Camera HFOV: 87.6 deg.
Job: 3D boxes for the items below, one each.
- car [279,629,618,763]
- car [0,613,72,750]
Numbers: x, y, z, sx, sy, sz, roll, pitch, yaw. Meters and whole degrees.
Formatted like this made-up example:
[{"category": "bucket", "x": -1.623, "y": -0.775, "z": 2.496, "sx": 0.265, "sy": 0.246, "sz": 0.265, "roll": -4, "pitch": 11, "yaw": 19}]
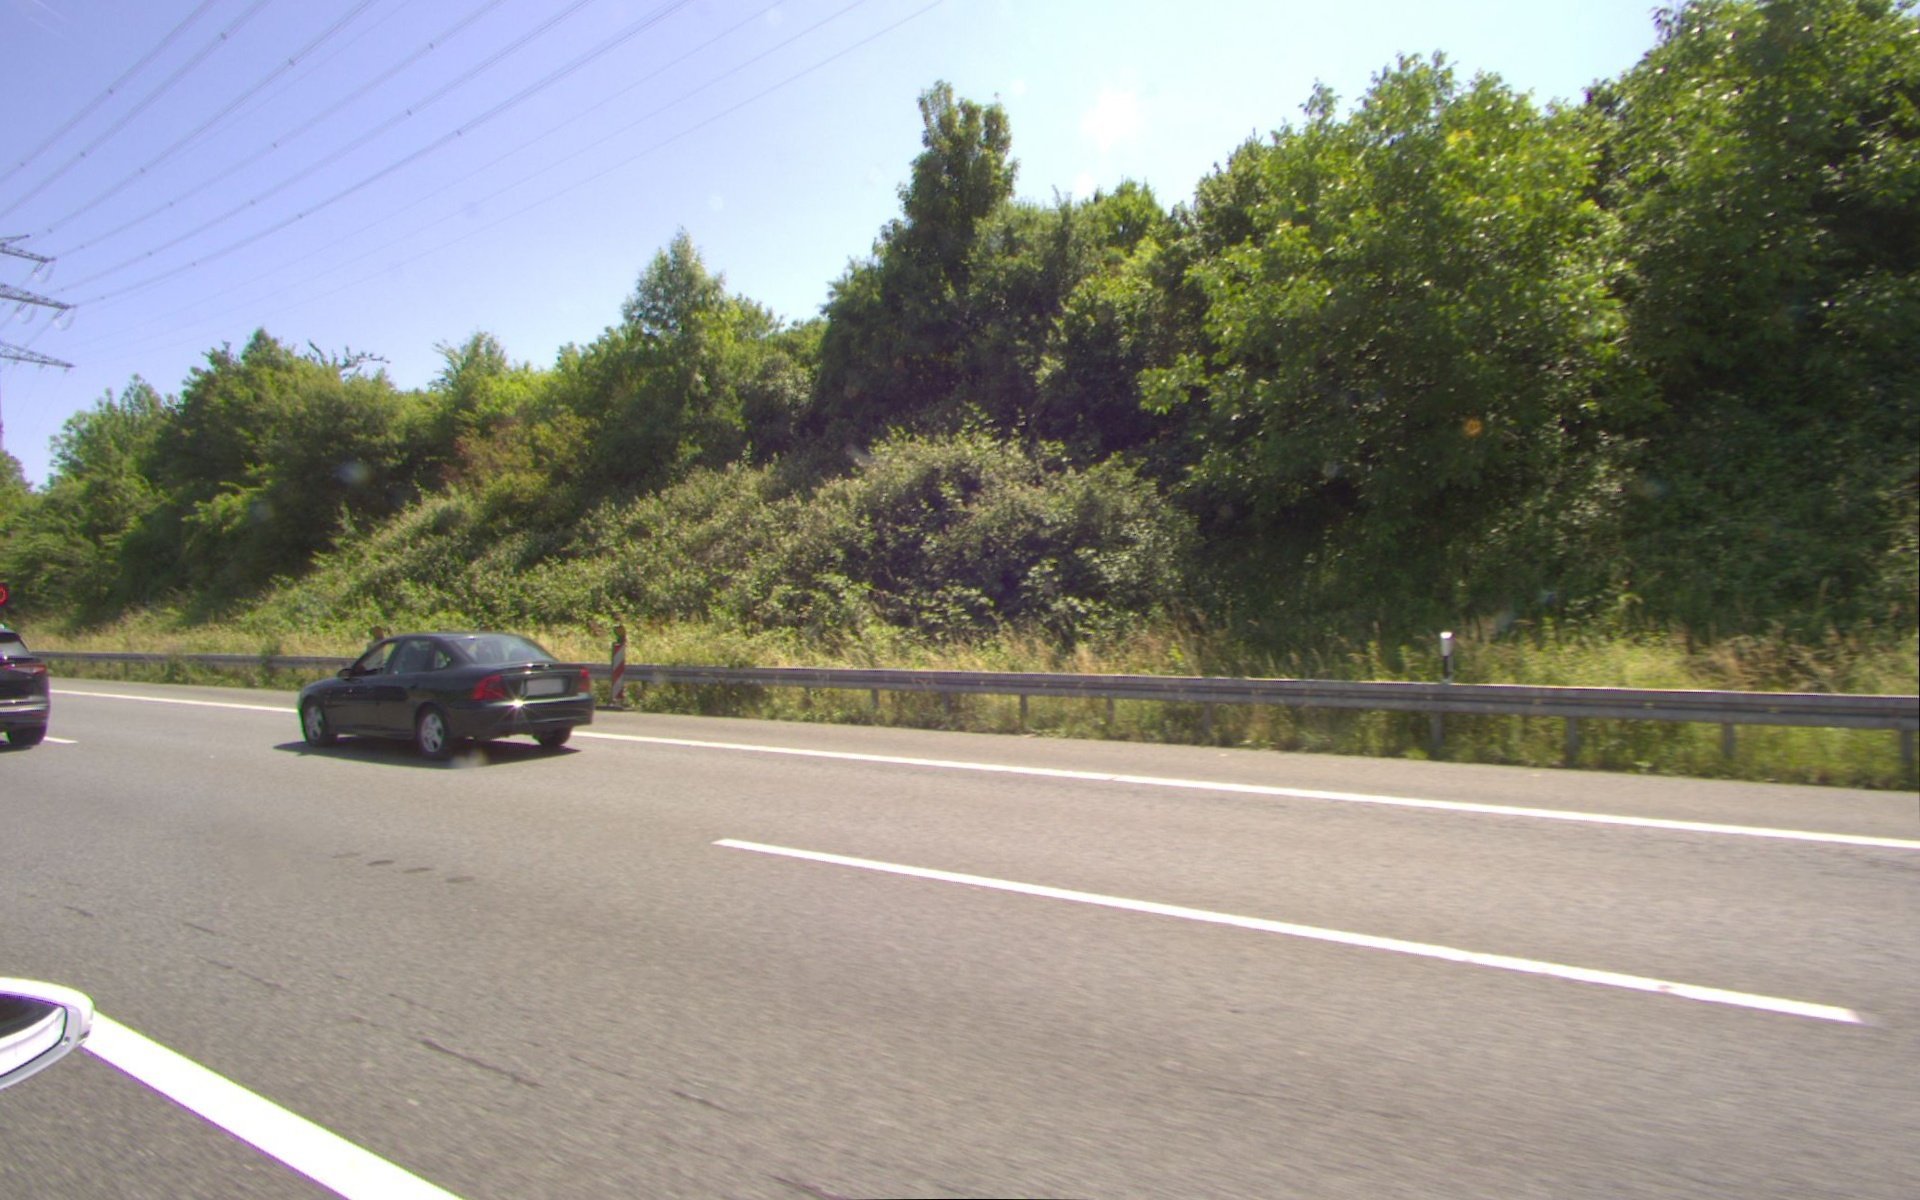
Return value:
[{"category": "car", "x": -6.334, "y": 1.068, "z": 12.287, "sx": 4.239, "sy": 1.395, "sz": 1.732, "roll": -1, "pitch": -2, "yaw": 31}, {"category": "car", "x": -13.414, "y": 0.993, "z": 12.855, "sx": 4.366, "sy": 1.635, "sz": 1.825, "roll": -1, "pitch": -1, "yaw": 32}]
